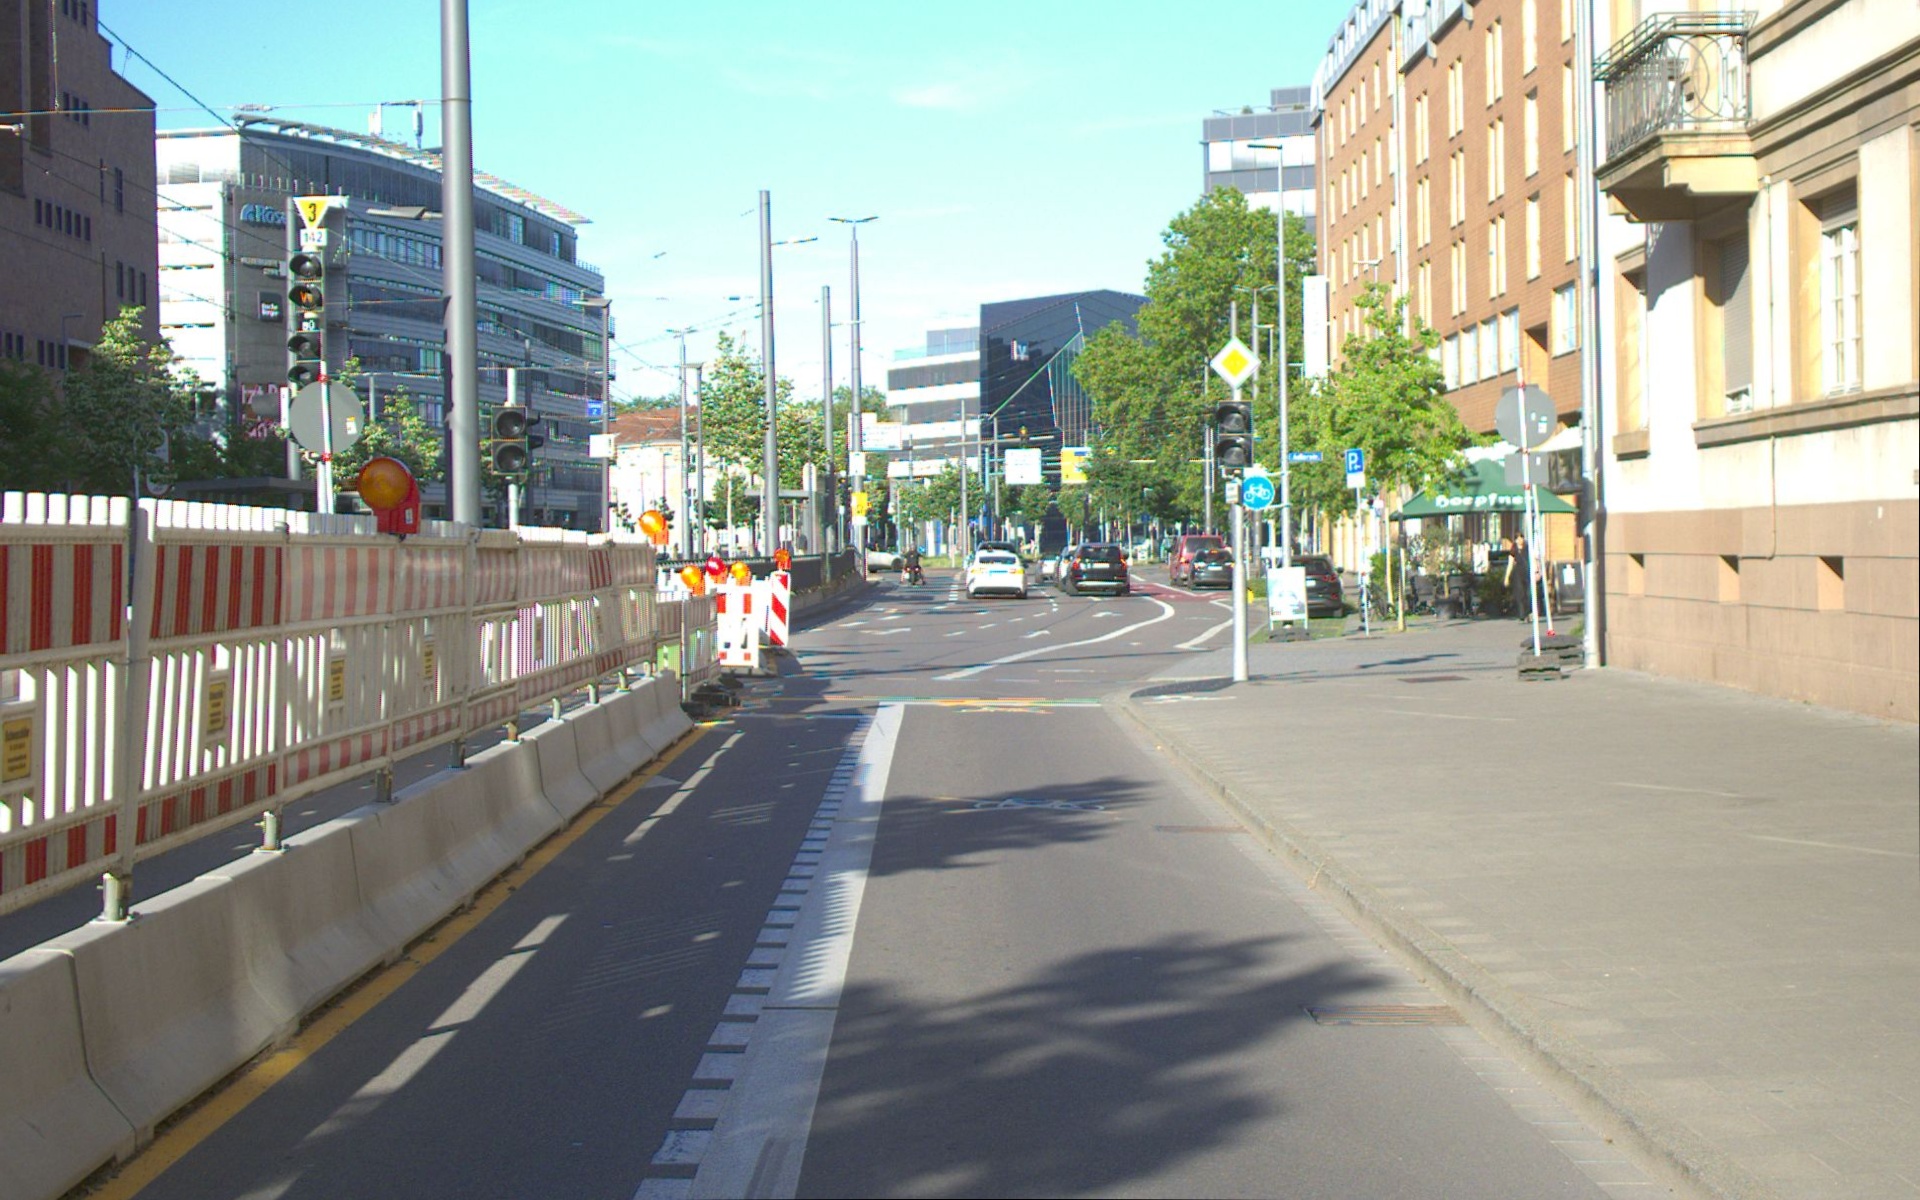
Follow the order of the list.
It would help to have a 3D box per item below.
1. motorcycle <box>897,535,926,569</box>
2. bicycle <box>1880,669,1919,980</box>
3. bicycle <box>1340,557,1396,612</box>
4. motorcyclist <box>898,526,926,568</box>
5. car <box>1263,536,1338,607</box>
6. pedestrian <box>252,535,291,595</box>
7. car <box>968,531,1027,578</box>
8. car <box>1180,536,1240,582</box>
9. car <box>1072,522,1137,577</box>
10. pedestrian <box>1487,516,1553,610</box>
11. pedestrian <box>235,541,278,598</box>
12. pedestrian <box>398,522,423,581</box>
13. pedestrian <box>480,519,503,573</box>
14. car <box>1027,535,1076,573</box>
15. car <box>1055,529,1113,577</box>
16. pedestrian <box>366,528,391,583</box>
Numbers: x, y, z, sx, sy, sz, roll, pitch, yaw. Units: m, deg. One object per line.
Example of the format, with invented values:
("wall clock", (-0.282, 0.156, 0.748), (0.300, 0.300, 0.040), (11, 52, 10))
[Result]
("motorcycle", (-1.858, -1.862, 133.043), (1.019, 1.307, 2.915), (1, 1, 1))
("bicycle", (3.368, 0.711, 9.984), (0.767, 0.949, 2.198), (-1, 1, -1))
("bicycle", (8.757, -0.328, 73.883), (0.765, 1.077, 1.998), (-6, 0, -3))
("motorcyclist", (-1.860, -2.037, 133.094), (1.019, 1.598, 1.148), (1, 1, 1))
("car", (8.327, -0.720, 83.817), (1.721, 1.631, 4.230), (-1, 1, 6))
("pedestrian", (-15.168, -0.773, 75.723), (0.646, 1.304, 0.721), (-3, 1, 0))
("car", (1.149, -1.433, 107.324), (1.780, 1.409, 4.819), (1, 1, 0))
("car", (9.082, -1.502, 125.210), (1.846, 1.555, 4.633), (1, 2, 1))
("car", (4.725, -1.677, 112.994), (1.975, 1.753, 4.633), (1, 1, 1))
("pedestrian", (10.698, -0.711, 65.636), (0.885, 1.757, 1.104), (-3, 0, 27))
("pedestrian", (-15.069, -0.656, 73.684), (0.721, 1.164, 0.721), (-3, 1, 0))
("pedestrian", (-16.127, -1.432, 100.924), (0.622, 1.709, 0.616), (0, 1, 1))
("pedestrian", (-14.904, -1.715, 109.339), (0.640, 1.690, 0.541), (1, 1, 1))
("car", (3.628, -1.856, 137.484), (1.851, 1.492, 4.379), (0, 1, 0))
("car", (4.332, -1.667, 120.545), (1.851, 1.634, 4.379), (0, 1, 0))
("pedestrian", (-15.549, -1.199, 91.880), (0.539, 1.454, 0.642), (1, 1, 1))
